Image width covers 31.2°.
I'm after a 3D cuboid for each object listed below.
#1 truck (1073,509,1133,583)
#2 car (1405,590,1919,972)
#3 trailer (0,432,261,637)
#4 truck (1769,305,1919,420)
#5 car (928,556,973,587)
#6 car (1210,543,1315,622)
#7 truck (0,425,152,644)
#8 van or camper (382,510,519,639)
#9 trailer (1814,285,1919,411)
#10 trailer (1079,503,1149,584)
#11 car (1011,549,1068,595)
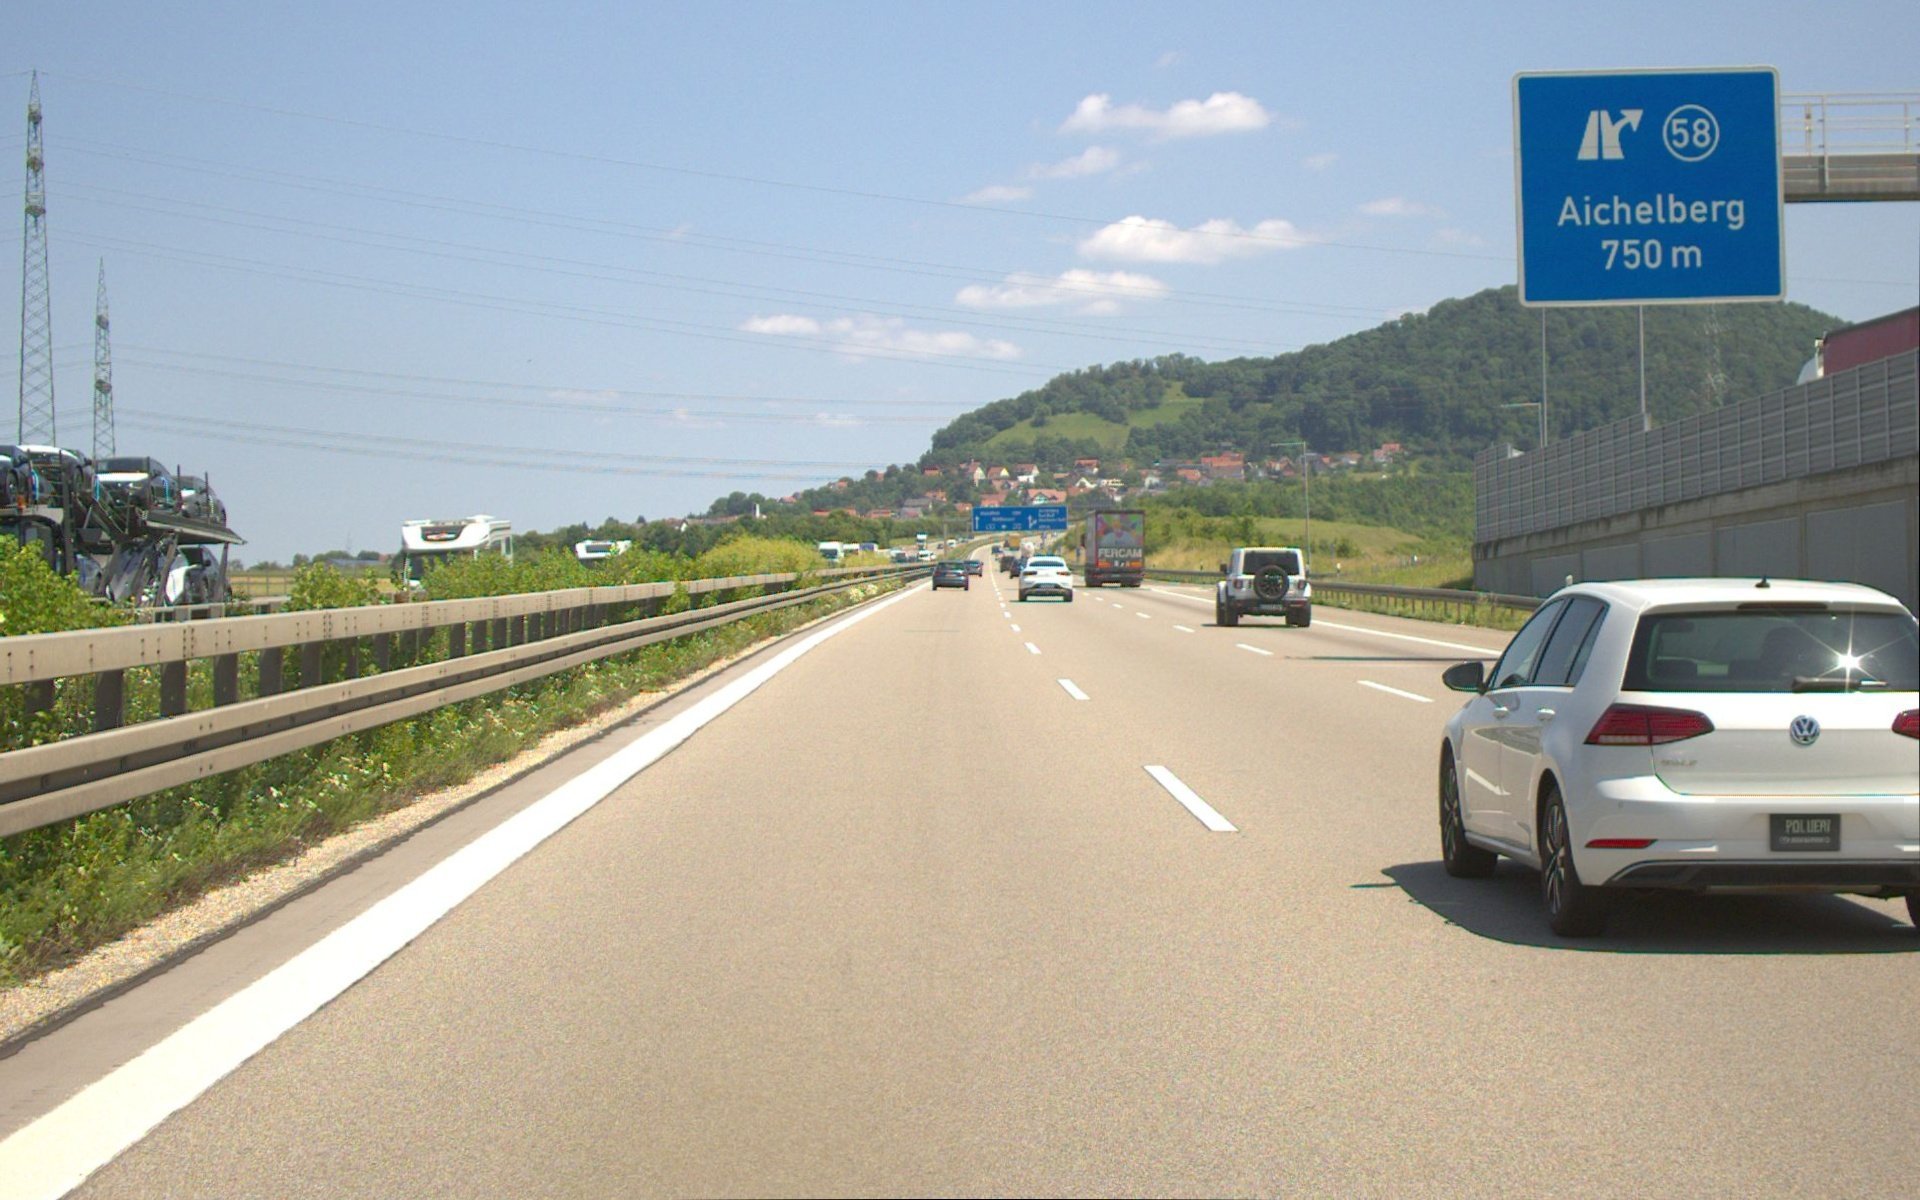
[{"bbox_3d":[7.926,-2.954,190.853,2.752,4.007,6.789,1,0,-2],"label":"truck"},{"bbox_3d":[3.205,0.685,15.408,1.776,1.428,4.691,1,0,0],"label":"car"},{"bbox_3d":[-17.630,-1.271,72.563,2.685,3.834,15.180,1,0,0],"label":"trailer"},{"bbox_3d":[21.498,-5.575,81.467,2.707,2.197,7.288,1,0,-2],"label":"truck"},{"bbox_3d":[-0.435,-1.320,160.813,1.993,1.384,4.000,1,0,1],"label":"car"},{"bbox_3d":[7.021,-0.422,80.129,2.034,1.798,4.250,0,1,0],"label":"car"},{"bbox_3d":[-17.573,-1.178,64.510,2.676,3.806,9.153,1,0,0],"label":"truck"},{"bbox_3d":[-13.604,-0.694,92.244,2.523,3.256,7.375,-2,1,0],"label":"van or camper"},{"bbox_3d":[21.709,-5.556,74.041,2.719,2.216,14.022,1,0,-2],"label":"trailer"},{"bbox_3d":[8.171,-2.949,183.804,2.725,4.141,11.809,1,0,-2],"label":"trailer"},{"bbox_3d":[2.817,-0.987,123.123,1.914,1.575,5.231,1,0,0],"label":"car"}]
